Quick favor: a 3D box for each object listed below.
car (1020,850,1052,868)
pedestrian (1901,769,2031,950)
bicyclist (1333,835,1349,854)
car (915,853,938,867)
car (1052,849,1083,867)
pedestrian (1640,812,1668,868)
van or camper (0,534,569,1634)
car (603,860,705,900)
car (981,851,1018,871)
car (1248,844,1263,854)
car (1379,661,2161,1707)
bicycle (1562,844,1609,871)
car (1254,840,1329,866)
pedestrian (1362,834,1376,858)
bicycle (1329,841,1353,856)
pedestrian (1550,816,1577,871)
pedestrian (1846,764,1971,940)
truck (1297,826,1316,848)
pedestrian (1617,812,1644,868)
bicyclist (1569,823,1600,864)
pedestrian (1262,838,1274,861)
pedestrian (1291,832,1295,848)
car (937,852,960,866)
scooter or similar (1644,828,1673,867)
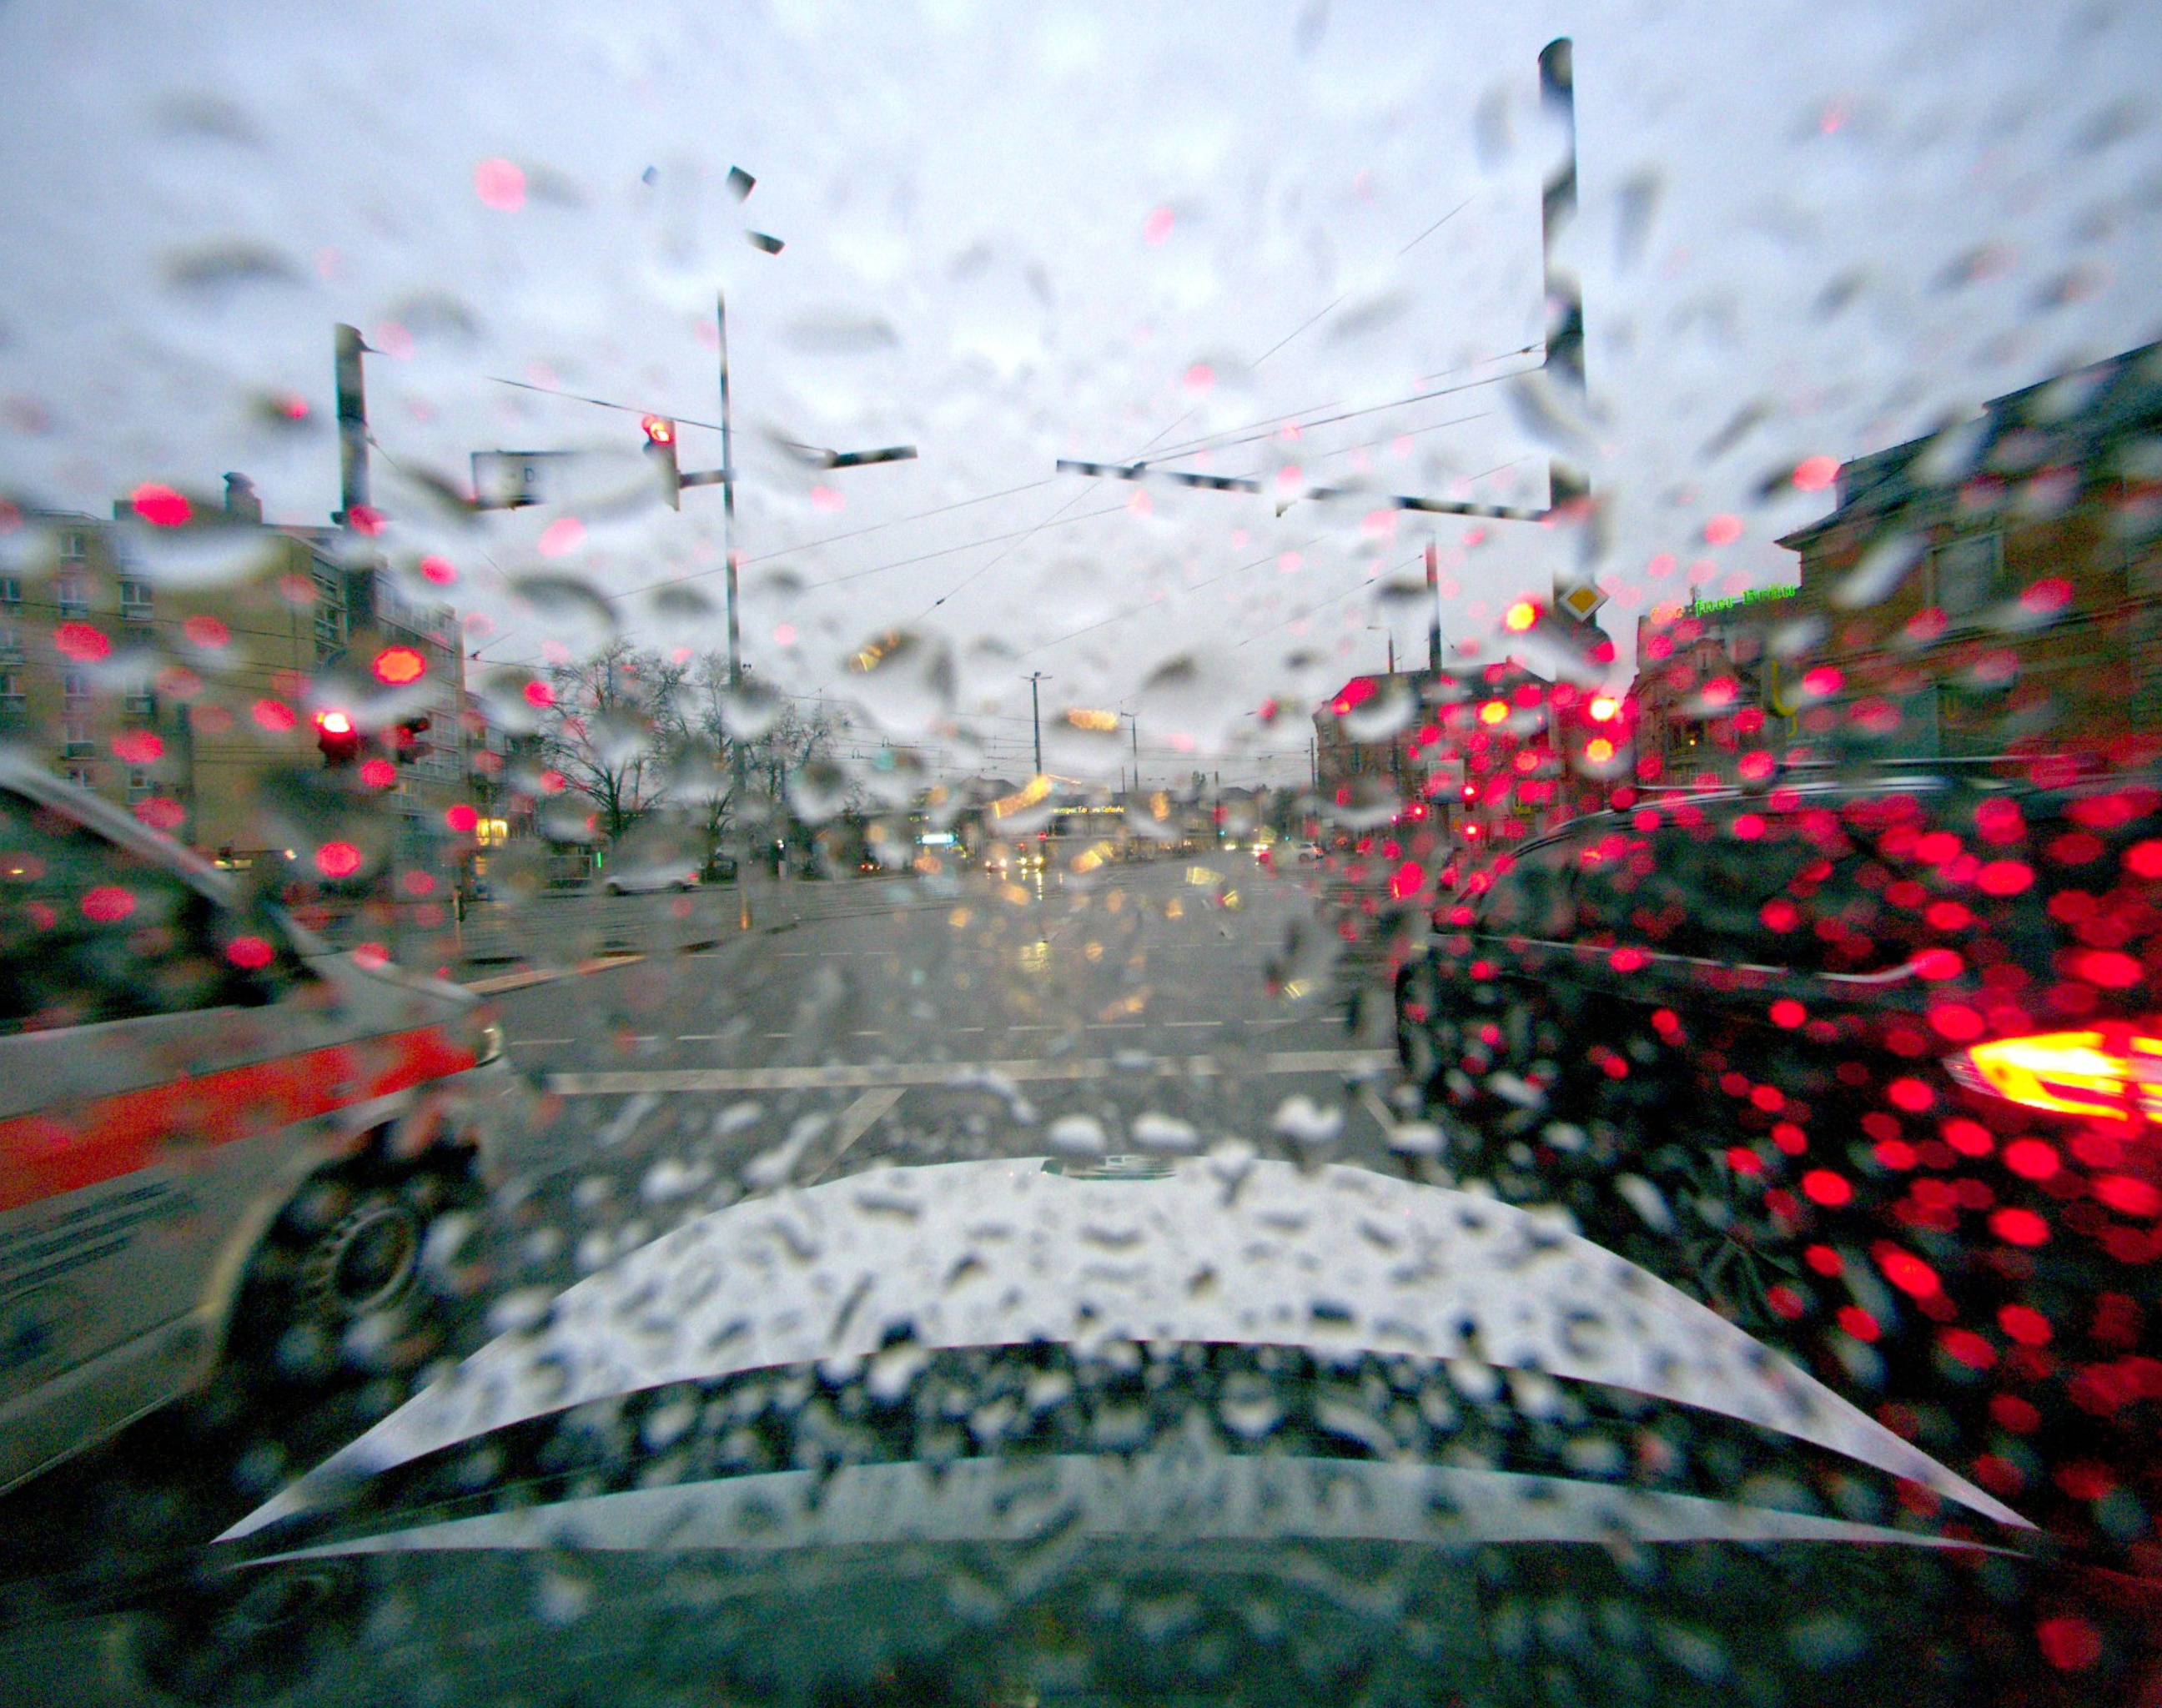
[{"bbox_3d":[-3.903,0.452,71.693,1.801,1.446,4.013,-3,0,11],"label":"car"},{"bbox_3d":[10.358,0.044,9.571,0.800,2.013,0.765,-1,3,26],"label":"pedestrian"},{"bbox_3d":[25.476,-0.901,79.759,1.055,1.768,1.061,-2,0,-35],"label":"bicyclist"},{"bbox_3d":[-19.569,0.742,103.183,1.854,1.601,4.004,-3,0,4],"label":"car"},{"bbox_3d":[-1.119,0.294,70.735,1.801,1.446,4.013,-3,0,11],"label":"car"},{"bbox_3d":[20.470,-0.507,29.111,0.670,1.950,0.666,-3,0,26],"label":"pedestrian"},{"bbox_3d":[-3.230,0.454,0.693,2.192,2.109,4.992,-1,0,3],"label":"van or camper"},{"bbox_3d":[-22.378,1.395,42.845,4.413,2.014,1.900,0,-3,-17],"label":"car"},{"bbox_3d":[-6.480,0.570,65.085,1.801,1.446,4.013,-3,0,11],"label":"car"},{"bbox_3d":[28.977,-0.871,135.084,1.847,1.601,3.805,-3,0,20],"label":"car"},{"bbox_3d":[2.854,0.531,3.514,1.770,1.800,4.430,-1,1,4],"label":"car"},{"bbox_3d":[19.959,0.132,32.213,2.020,0.980,0.689,-3,0,-30],"label":"bicycle"},{"bbox_3d":[14.855,-0.081,57.577,4.753,1.657,1.751,-3,0,27],"label":"car"},{"bbox_3d":[24.415,-0.676,68.964,0.732,2.013,0.782,-2,0,-27],"label":"pedestrian"},{"bbox_3d":[25.473,-0.570,79.744,0.701,1.376,2.184,-2,0,-36],"label":"bicycle"},{"bbox_3d":[17.326,-0.372,29.243,0.669,1.950,0.681,-3,0,38],"label":"pedestrian"},{"bbox_3d":[9.552,-0.031,9.445,0.800,1.929,0.765,-1,3,26],"label":"pedestrian"},{"bbox_3d":[29.788,-2.264,107.655,1.977,2.691,5.141,-3,0,19],"label":"truck"},{"bbox_3d":[19.855,-0.502,29.437,0.670,1.950,0.666,-3,0,27],"label":"pedestrian"},{"bbox_3d":[19.879,-0.402,32.168,0.781,1.575,0.689,-2,0,-30],"label":"bicyclist"},{"bbox_3d":[15.193,-0.395,66.112,0.595,1.840,0.612,-3,0,-33],"label":"pedestrian"},{"bbox_3d":[27.801,-1.842,106.877,0.341,2.013,0.420,-3,0,17],"label":"pedestrian"},{"bbox_3d":[-16.686,0.653,102.876,1.854,1.601,4.004,-3,0,4],"label":"car"},{"bbox_3d":[20.150,-0.212,28.432,0.670,1.317,0.832,-3,0,26],"label":"scooter or similar"}]
